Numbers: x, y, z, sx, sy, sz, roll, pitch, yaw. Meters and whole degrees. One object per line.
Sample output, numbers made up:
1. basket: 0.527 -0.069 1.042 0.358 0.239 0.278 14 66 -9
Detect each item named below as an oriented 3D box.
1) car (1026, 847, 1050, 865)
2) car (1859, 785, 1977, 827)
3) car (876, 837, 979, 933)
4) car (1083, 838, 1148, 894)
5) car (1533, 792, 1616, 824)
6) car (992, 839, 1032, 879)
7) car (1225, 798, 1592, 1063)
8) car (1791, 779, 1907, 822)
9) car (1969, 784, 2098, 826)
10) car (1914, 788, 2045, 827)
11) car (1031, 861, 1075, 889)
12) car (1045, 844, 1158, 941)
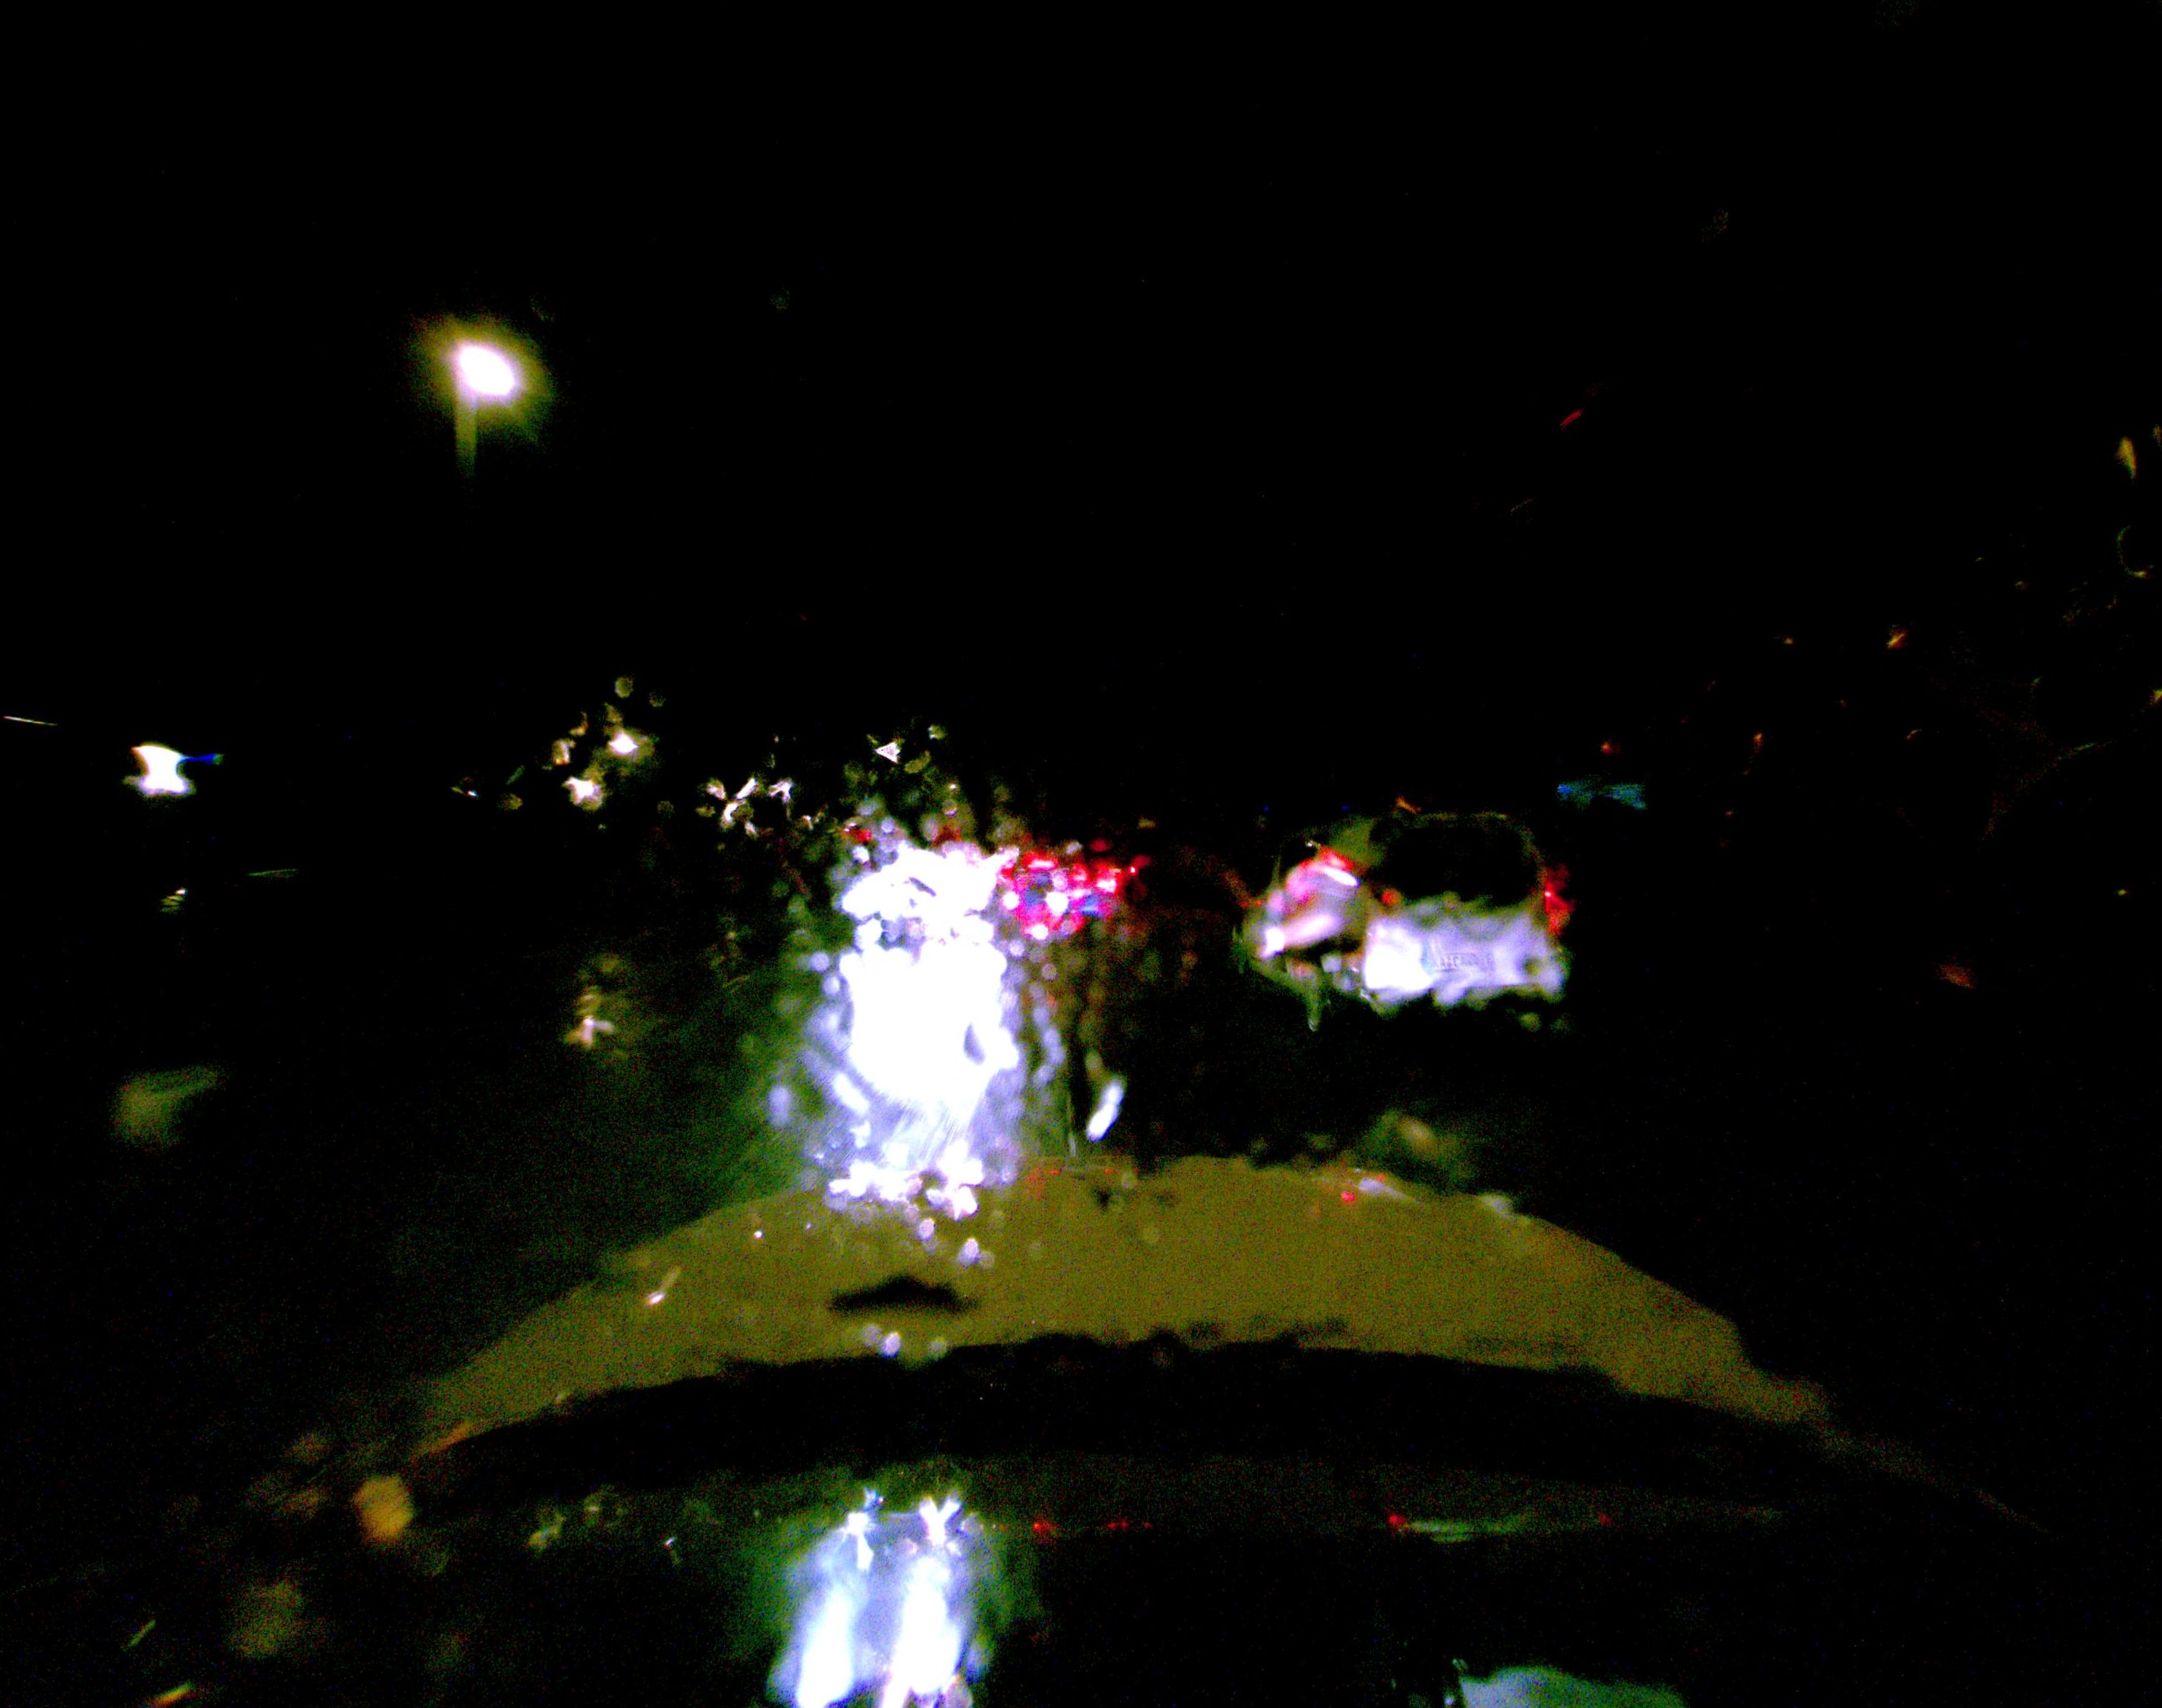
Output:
1. car: -4.031 0.138 76.474 1.987 1.634 4.000 -1 0 0
2. car: 44.904 -2.532 43.794 3.954 2.013 2.010 -1 0 18
3. car: -3.419 0.670 18.630 2.014 1.887 4.437 -1 -1 -9
4. car: 1.299 0.435 32.555 1.967 2.046 3.991 -1 0 -7
5. car: 29.450 -2.731 48.659 4.017 1.668 1.789 -1 1 38
6. car: -3.680 0.229 43.653 1.990 2.013 3.994 -1 0 -5
7. car: 2.747 0.529 8.042 1.846 1.865 4.340 -1 0 0
8. car: 40.164 -2.742 42.719 3.953 2.013 2.010 -1 0 21
9. car: 49.903 -2.543 42.768 3.956 2.013 2.009 -1 0 16
10. car: 45.122 -2.307 41.032 3.953 1.706 2.010 -1 0 21
11. car: -1.929 1.399 54.681 1.998 1.718 3.978 -1 0 -16
12. car: 0.394 0.676 16.962 2.008 1.717 4.452 -1 0 1
